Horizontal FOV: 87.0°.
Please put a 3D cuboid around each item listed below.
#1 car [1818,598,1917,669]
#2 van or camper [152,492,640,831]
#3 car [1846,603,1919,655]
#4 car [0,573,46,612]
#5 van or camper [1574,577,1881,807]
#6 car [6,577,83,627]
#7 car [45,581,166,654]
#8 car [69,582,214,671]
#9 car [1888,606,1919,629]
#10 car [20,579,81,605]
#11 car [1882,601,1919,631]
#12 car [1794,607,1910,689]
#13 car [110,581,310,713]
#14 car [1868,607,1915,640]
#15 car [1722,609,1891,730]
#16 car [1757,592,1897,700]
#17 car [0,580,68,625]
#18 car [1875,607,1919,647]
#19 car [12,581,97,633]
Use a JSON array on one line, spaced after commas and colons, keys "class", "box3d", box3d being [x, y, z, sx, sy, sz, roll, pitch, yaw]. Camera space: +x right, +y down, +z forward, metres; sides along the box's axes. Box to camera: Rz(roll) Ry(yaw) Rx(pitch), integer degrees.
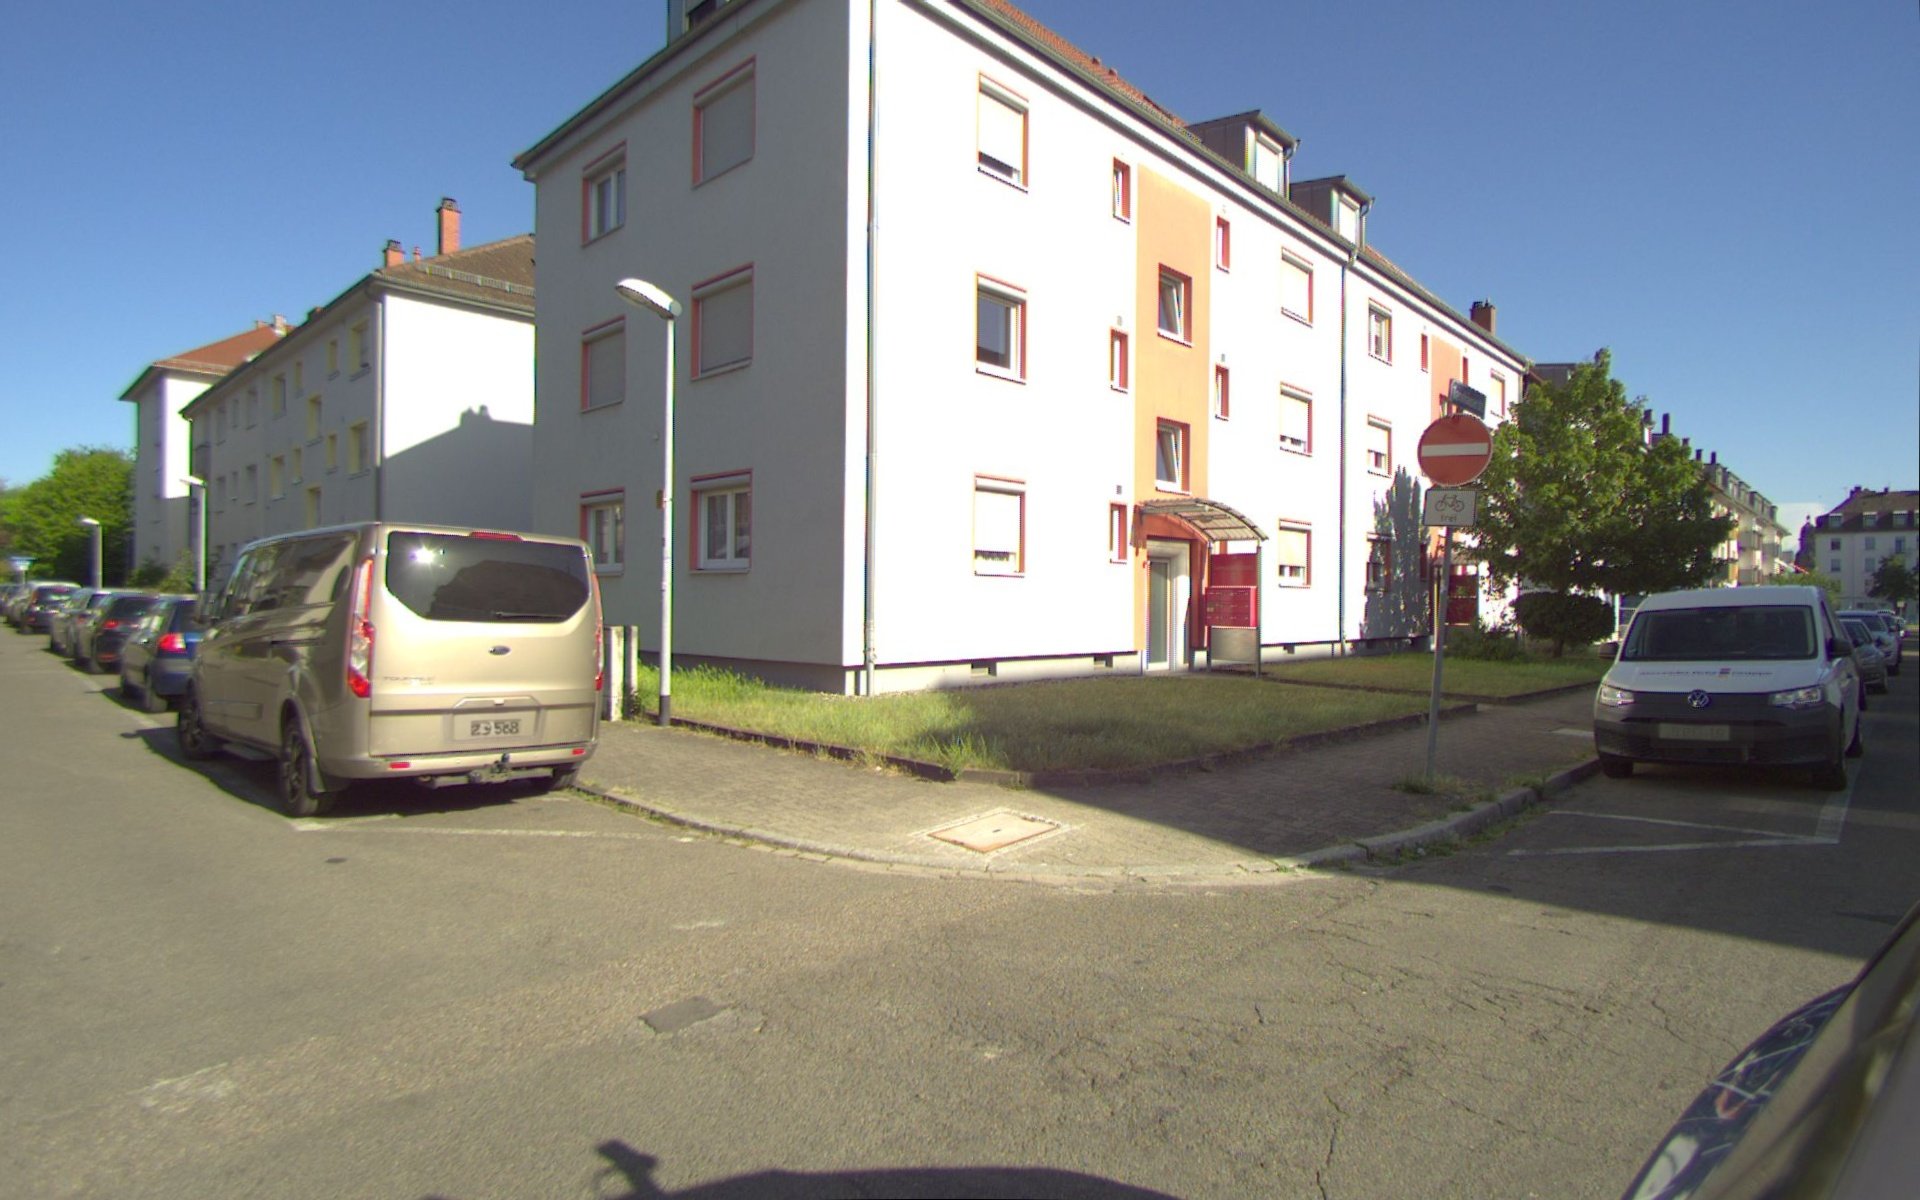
[{"class": "car", "box3d": [24.136, 0.852, 26.976, 1.773, 1.741, 4.242, -3, -2, 42]}, {"class": "van or camper", "box3d": [-4.983, 0.367, 8.543, 5.119, 2.039, 1.970, 1, -1, 42]}, {"class": "car", "box3d": [31.502, 0.931, 34.525, 1.727, 1.627, 4.353, 1, 0, 44]}, {"class": "car", "box3d": [-44.022, -0.377, 47.234, 4.230, 1.716, 1.712, 1, -1, 44]}, {"class": "van or camper", "box3d": [7.824, 0.767, 10.113, 1.792, 1.771, 4.659, -5, -4, 44]}, {"class": "car", "box3d": [-31.583, 0.038, 34.869, 4.067, 1.594, 1.653, 1, -1, 44]}, {"class": "car", "box3d": [-19.247, 0.362, 22.735, 4.067, 1.474, 1.653, 1, -1, 44]}, {"class": "car", "box3d": [-15.300, 0.454, 18.866, 3.474, 1.474, 1.653, 1, -1, 44]}, {"class": "car", "box3d": [69.588, 1.271, 74.501, 1.705, 1.591, 4.659, 1, 1, 44]}, {"class": "car", "box3d": [-60.706, -0.516, 67.579, 1.388, 1.649, 2.896, 3, 2, 43]}, {"class": "car", "box3d": [64.948, 1.063, 69.711, 1.949, 1.924, 4.688, 1, 1, 44]}, {"class": "car", "box3d": [17.987, 0.917, 20.413, 1.627, 1.469, 3.891, 0, -1, 42]}, {"class": "car", "box3d": [-10.275, 0.535, 13.792, 3.474, 1.549, 1.654, 1, 1, 44]}, {"class": "car", "box3d": [48.292, 1.174, 52.428, 1.705, 1.591, 3.977, 1, 0, 44]}, {"class": "car", "box3d": [11.715, 0.856, 13.951, 1.571, 1.435, 3.730, -2, -2, 42]}, {"class": "car", "box3d": [14.859, 0.716, 17.452, 1.615, 1.569, 3.559, 4, 2, 40]}, {"class": "car", "box3d": [-35.038, 0.079, 38.200, 4.230, 1.594, 1.653, 1, -1, 44]}, {"class": "car", "box3d": [39.506, 1.111, 42.345, 1.705, 1.591, 3.814, 1, 0, 44]}, {"class": "car", "box3d": [-28.167, 0.203, 31.440, 4.067, 1.474, 1.653, 1, -1, 44]}]
